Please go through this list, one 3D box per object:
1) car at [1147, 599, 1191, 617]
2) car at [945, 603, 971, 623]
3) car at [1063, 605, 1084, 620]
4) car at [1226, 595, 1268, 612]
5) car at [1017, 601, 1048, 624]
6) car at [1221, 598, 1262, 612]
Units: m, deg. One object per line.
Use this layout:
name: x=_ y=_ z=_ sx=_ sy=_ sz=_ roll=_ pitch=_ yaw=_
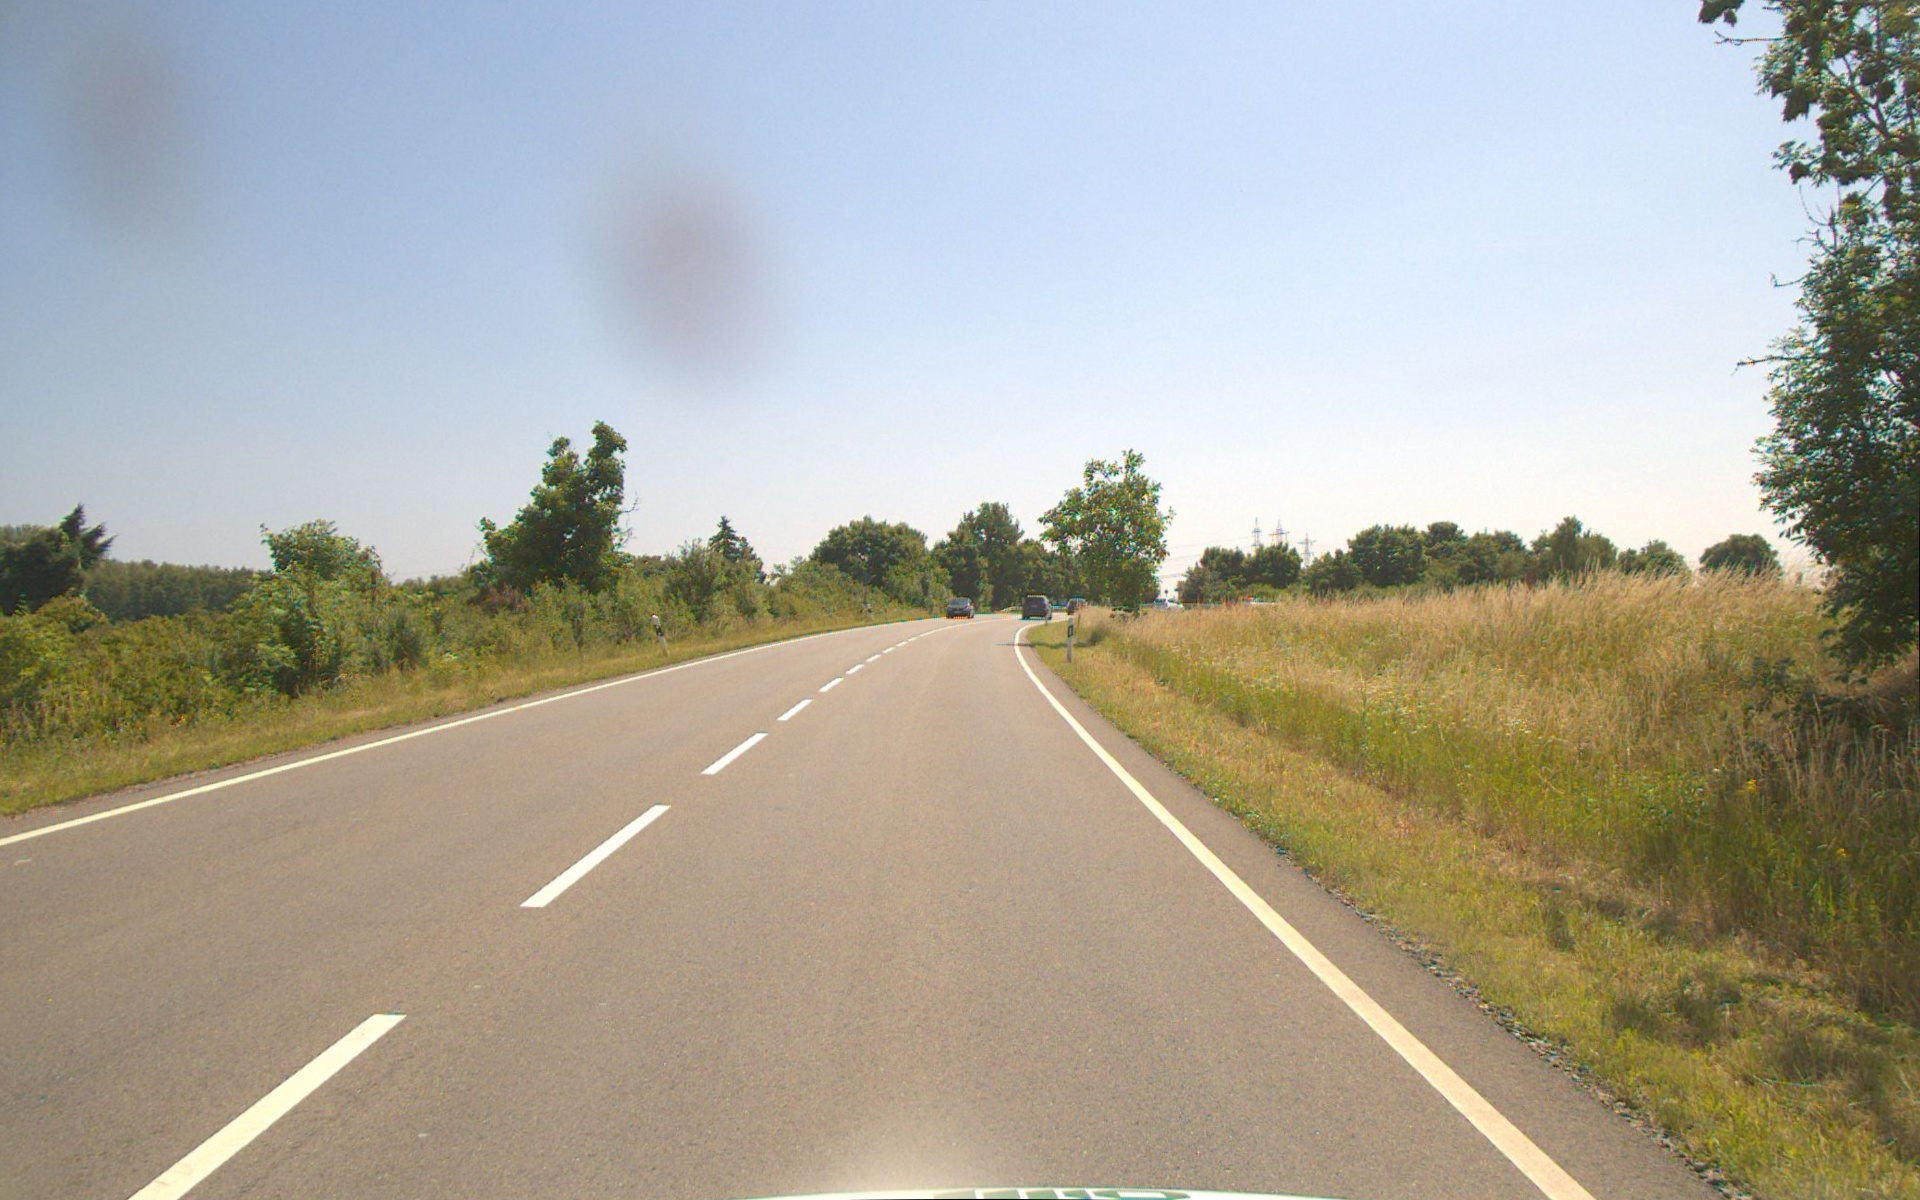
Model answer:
car: x=20.376 y=0.780 z=161.315 sx=4.105 sy=1.652 sz=2.040 roll=-1 pitch=-1 yaw=-41
car: x=-0.128 y=0.900 z=116.515 sx=1.657 sy=1.386 sz=3.827 roll=1 pitch=0 yaw=3
car: x=10.444 y=1.177 z=152.293 sx=1.609 sy=1.364 sz=4.043 roll=1 pitch=0 yaw=8
car: x=29.245 y=0.394 z=168.672 sx=3.906 sy=1.652 sz=1.644 roll=-1 pitch=-1 yaw=23
car: x=5.153 y=0.887 z=117.116 sx=1.844 sy=1.544 sz=4.043 roll=1 pitch=0 yaw=8
car: x=30.826 y=0.549 z=181.102 sx=4.068 sy=1.443 sz=1.779 roll=-1 pitch=-1 yaw=23
